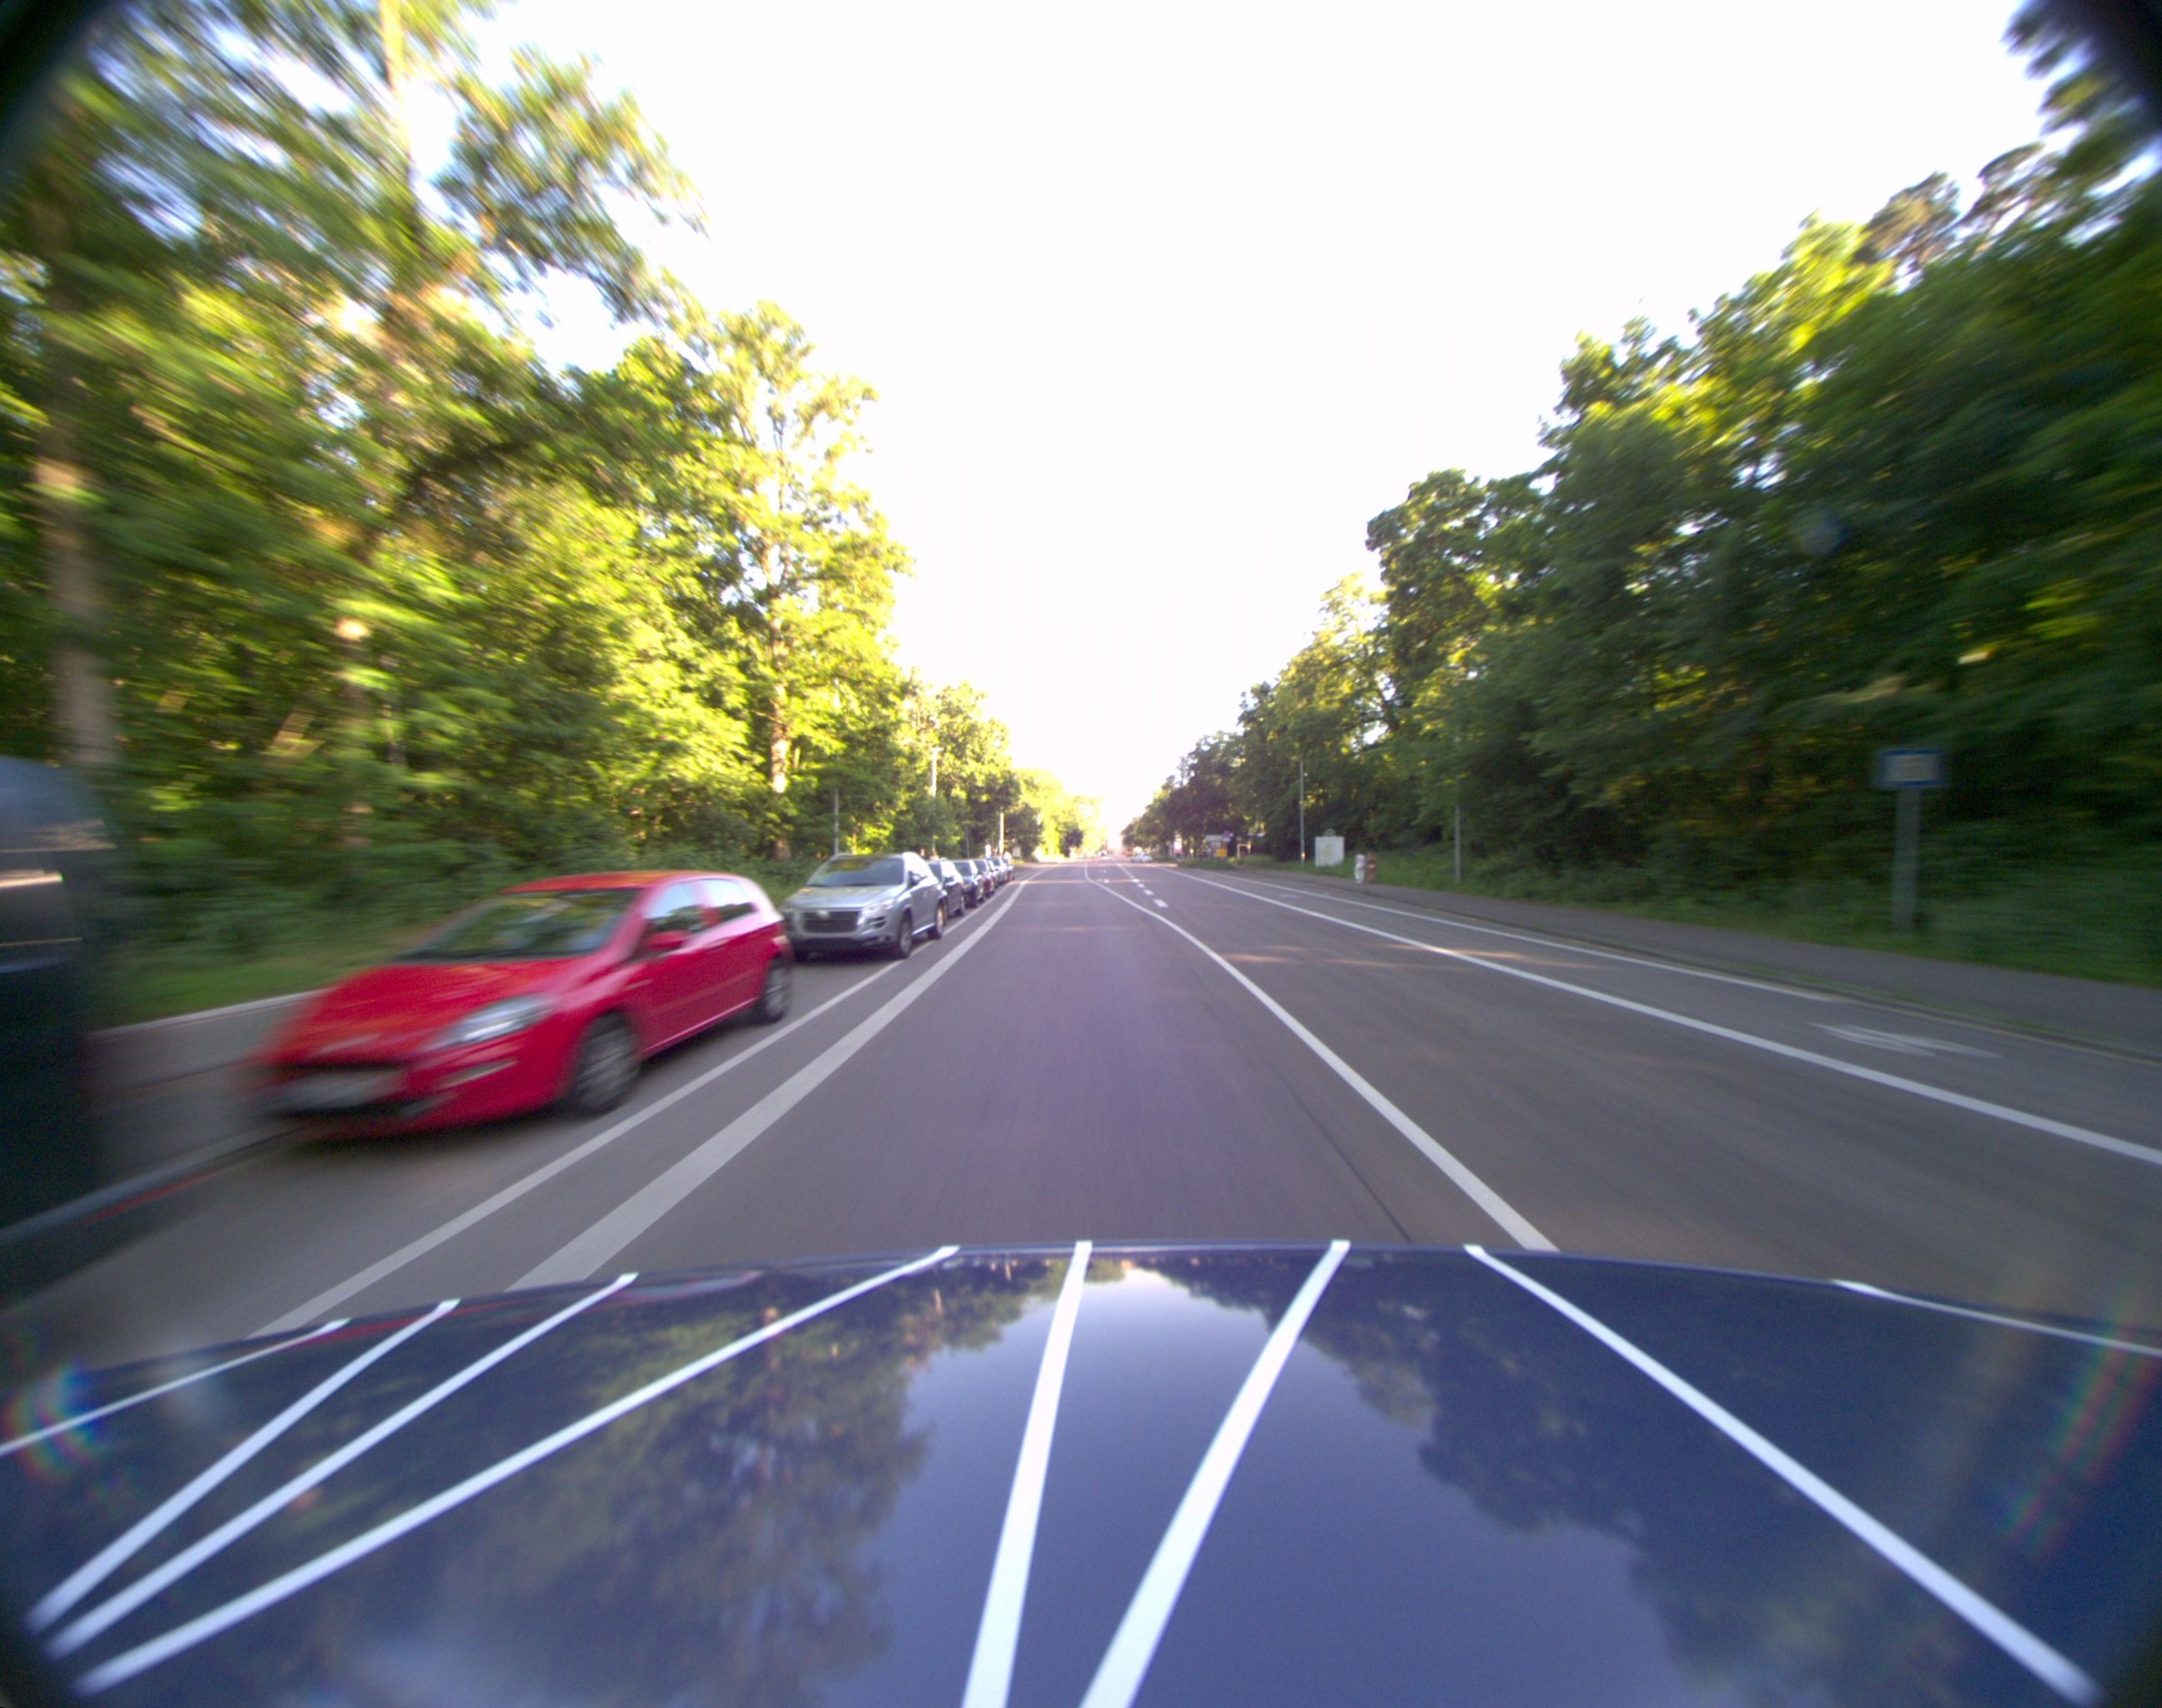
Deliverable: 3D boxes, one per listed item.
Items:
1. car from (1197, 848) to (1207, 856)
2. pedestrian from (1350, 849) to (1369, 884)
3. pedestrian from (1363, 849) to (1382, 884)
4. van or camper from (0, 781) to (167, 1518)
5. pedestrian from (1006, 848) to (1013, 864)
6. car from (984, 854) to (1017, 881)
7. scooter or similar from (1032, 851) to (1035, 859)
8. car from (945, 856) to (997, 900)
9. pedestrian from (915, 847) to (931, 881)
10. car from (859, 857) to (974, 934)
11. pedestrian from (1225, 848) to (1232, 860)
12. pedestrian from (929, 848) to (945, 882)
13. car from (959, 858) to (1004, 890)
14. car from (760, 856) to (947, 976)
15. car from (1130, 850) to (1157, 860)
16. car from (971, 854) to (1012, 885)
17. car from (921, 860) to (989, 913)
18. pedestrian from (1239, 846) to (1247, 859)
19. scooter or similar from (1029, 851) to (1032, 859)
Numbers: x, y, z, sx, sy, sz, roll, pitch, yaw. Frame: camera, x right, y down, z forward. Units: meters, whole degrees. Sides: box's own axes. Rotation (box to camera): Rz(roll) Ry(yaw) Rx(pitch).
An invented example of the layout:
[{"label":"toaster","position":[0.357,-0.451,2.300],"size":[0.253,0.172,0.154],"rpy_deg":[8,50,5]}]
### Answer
[{"label":"car","position":[24.316,-0.480,152.694],"size":[1.758,1.631,3.613],"rpy_deg":[0,1,3]},{"label":"pedestrian","position":[13.394,0.584,36.511],"size":[0.676,1.644,0.790],"rpy_deg":[0,1,6]},{"label":"pedestrian","position":[13.988,0.587,36.440],"size":[0.676,1.644,0.790],"rpy_deg":[0,1,6]},{"label":"van or camper","position":[-3.965,0.824,0.149],"size":[1.902,2.002,4.587],"rpy_deg":[0,1,2]},{"label":"pedestrian","position":[-8.360,0.222,88.943],"size":[0.809,1.789,0.734],"rpy_deg":[0,1,1]},{"label":"car","position":[-4.658,0.755,44.460],"size":[1.661,1.443,4.019],"rpy_deg":[0,0,-2]},{"label":"scooter or similar","position":[-7.433,0.156,118.040],"size":[0.386,1.177,1.103],"rpy_deg":[0,1,1]},{"label":"car","position":[-4.078,0.851,28.584],"size":[1.621,1.460,3.722],"rpy_deg":[-2,1,-4]},{"label":"pedestrian","position":[-8.316,0.520,39.975],"size":[0.677,1.788,0.953],"rpy_deg":[2,1,-4]},{"label":"car","position":[-3.838,0.897,18.556],"size":[1.812,1.510,4.503],"rpy_deg":[-3,1,-1]},{"label":"pedestrian","position":[21.505,-0.023,110.856],"size":[0.738,1.809,0.832],"rpy_deg":[-1,1,-35]},{"label":"pedestrian","position":[-7.603,0.578,40.198],"size":[0.677,1.788,0.789],"rpy_deg":[2,1,-4]},{"label":"car","position":[-4.502,0.886,34.932],"size":[1.632,1.312,3.839],"rpy_deg":[-1,1,-2]},{"label":"car","position":[-3.464,0.860,12.402],"size":[1.803,1.586,4.028],"rpy_deg":[0,1,1]},{"label":"car","position":[9.147,0.135,111.311],"size":[1.834,1.517,3.933],"rpy_deg":[-1,1,-34]},{"label":"car","position":[-4.674,0.784,40.074],"size":[1.741,1.516,4.358],"rpy_deg":[0,0,-1]},{"label":"car","position":[-3.828,0.934,23.559],"size":[1.599,1.393,3.797],"rpy_deg":[-2,1,-3]},{"label":"pedestrian","position":[23.416,-0.217,109.740],"size":[0.832,1.809,0.738],"rpy_deg":[0,1,31]},{"label":"scooter or similar","position":[-7.654,0.209,115.137],"size":[0.386,1.177,1.188],"rpy_deg":[0,1,1]}]
